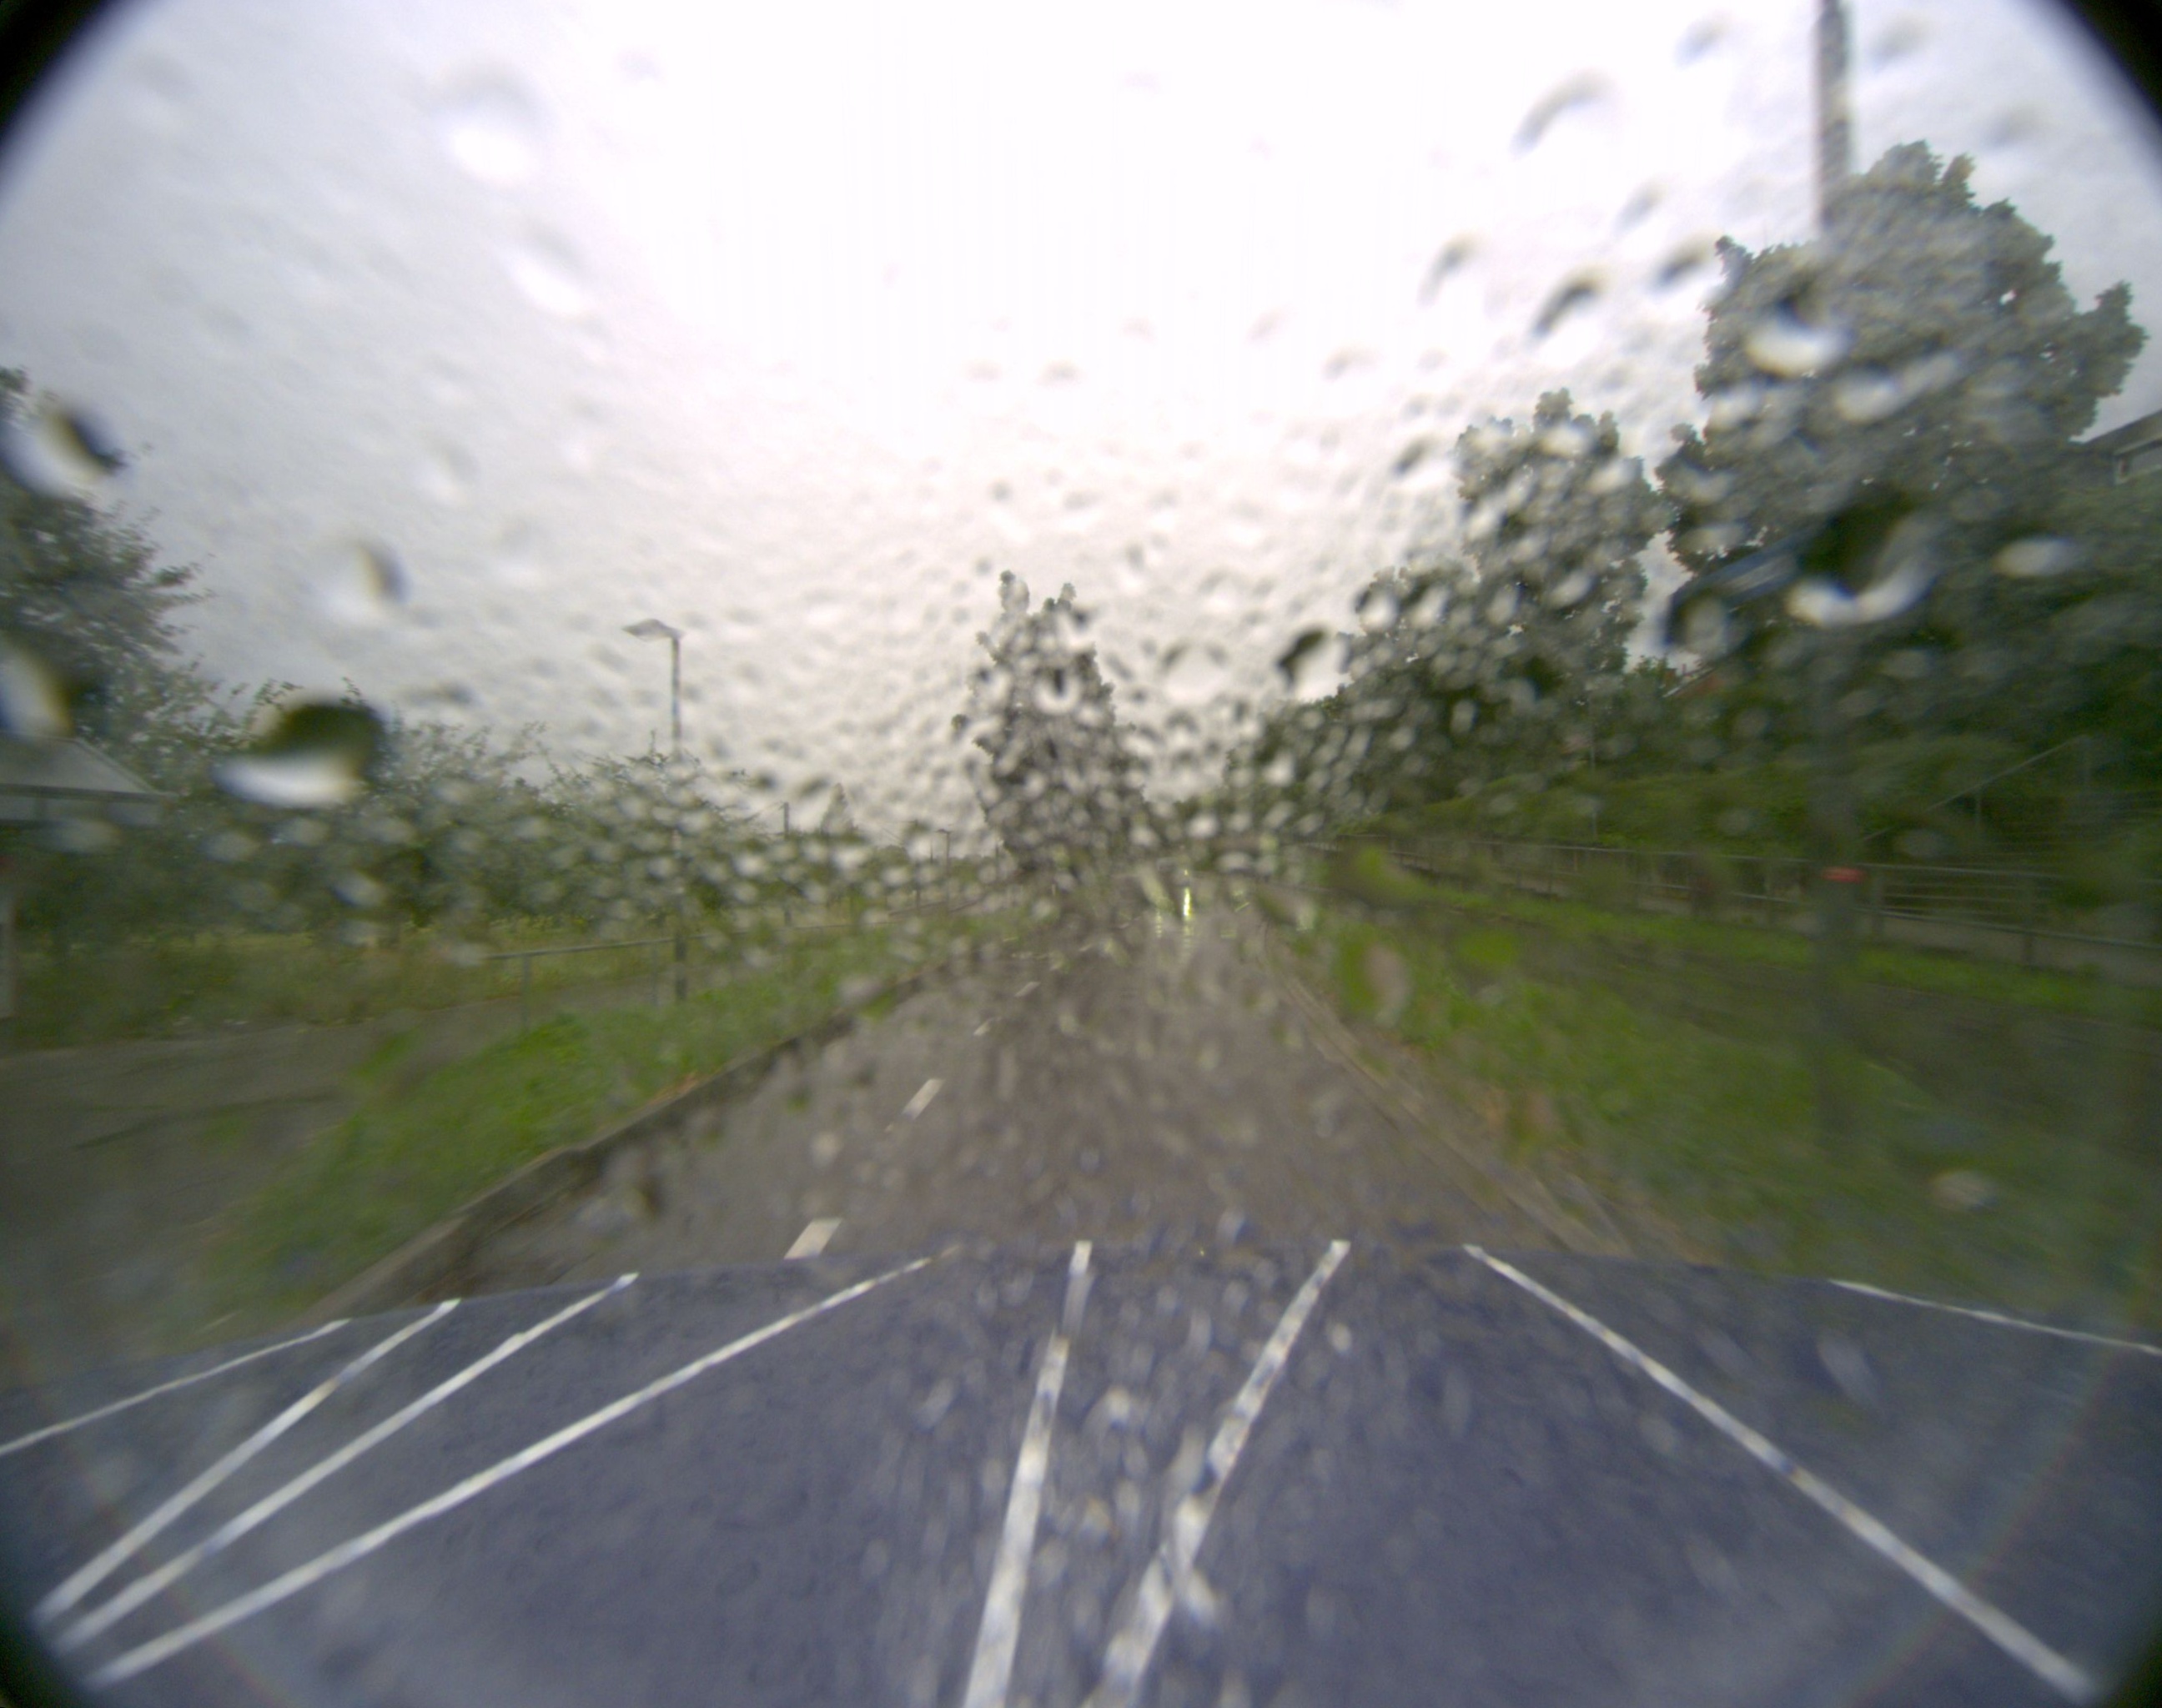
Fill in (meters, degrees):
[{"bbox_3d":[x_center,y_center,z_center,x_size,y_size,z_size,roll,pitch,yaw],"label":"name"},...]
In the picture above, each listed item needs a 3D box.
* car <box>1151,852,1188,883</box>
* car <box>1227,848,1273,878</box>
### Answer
[{"bbox_3d":[4.565,0.741,39.475,1.764,1.476,3.794,-1,-2,6],"label":"car"},{"bbox_3d":[8.926,0.437,40.402,1.764,1.494,4.142,0,1,4],"label":"car"}]
